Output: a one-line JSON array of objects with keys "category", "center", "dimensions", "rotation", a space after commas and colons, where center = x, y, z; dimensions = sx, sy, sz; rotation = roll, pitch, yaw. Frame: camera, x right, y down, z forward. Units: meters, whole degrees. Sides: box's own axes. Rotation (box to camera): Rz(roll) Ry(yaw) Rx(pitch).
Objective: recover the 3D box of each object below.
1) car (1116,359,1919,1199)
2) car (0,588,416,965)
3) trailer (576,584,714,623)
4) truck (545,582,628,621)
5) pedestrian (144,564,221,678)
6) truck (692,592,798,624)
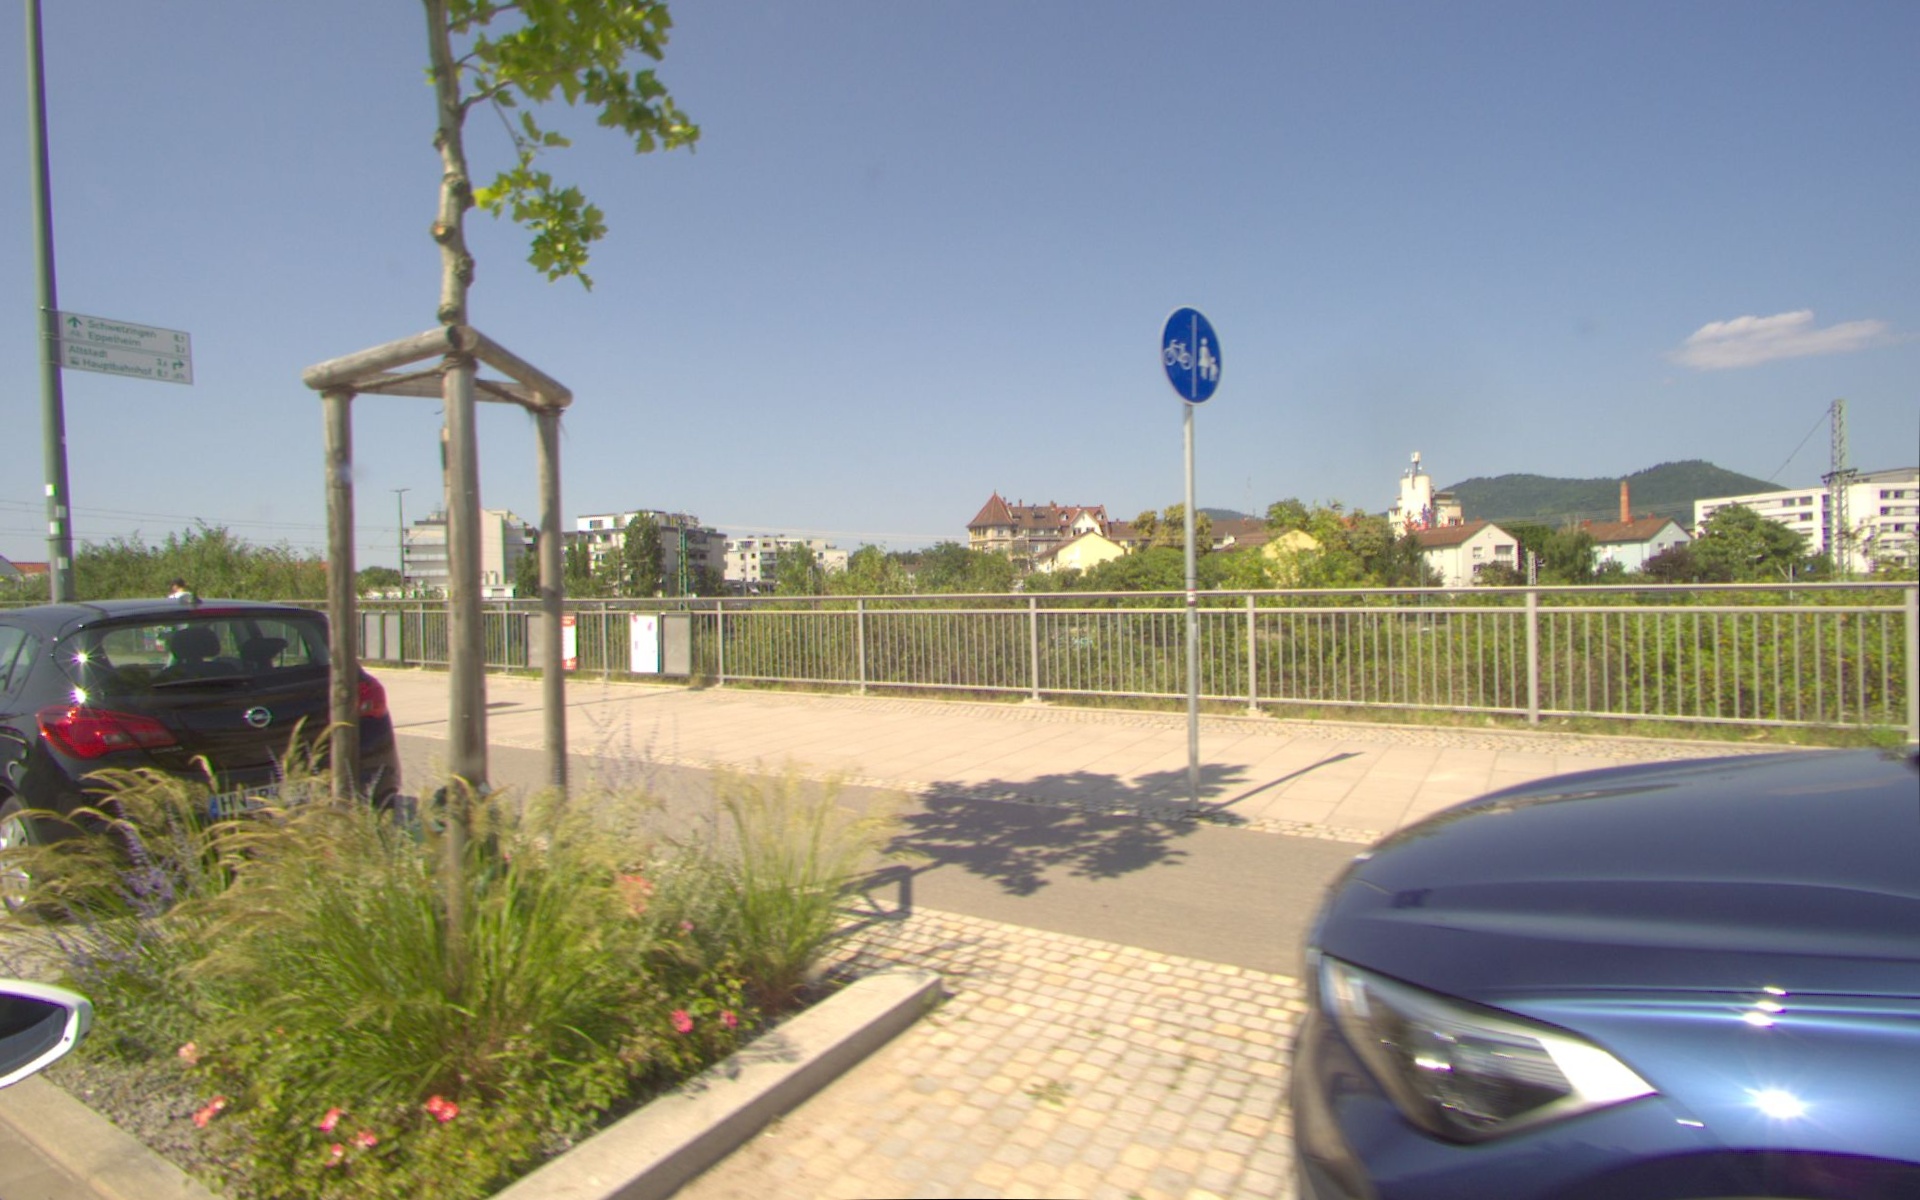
[{"category": "car", "center": [2.507, 0.551, 1.171], "dimensions": [4.210, 1.706, 1.799], "rotation": [-1, 1, 32]}, {"category": "car", "center": [-4.983, 0.756, 5.885], "dimensions": [3.496, 1.577, 1.577], "rotation": [0, 3, 32]}, {"category": "trailer", "center": [-30.090, 0.491, 97.322], "dimensions": [3.674, 3.244, 17.239], "rotation": [-1, -2, 17]}, {"category": "truck", "center": [-32.849, 0.208, 88.430], "dimensions": [3.672, 3.244, 6.483], "rotation": [-1, -2, 17]}, {"category": "pedestrian", "center": [-13.063, 0.353, 16.829], "dimensions": [0.872, 1.853, 0.757], "rotation": [-1, -1, 32]}, {"category": "truck", "center": [-24.515, 1.103, 116.109], "dimensions": [3.674, 3.244, 17.872], "rotation": [-1, -2, 17]}]
